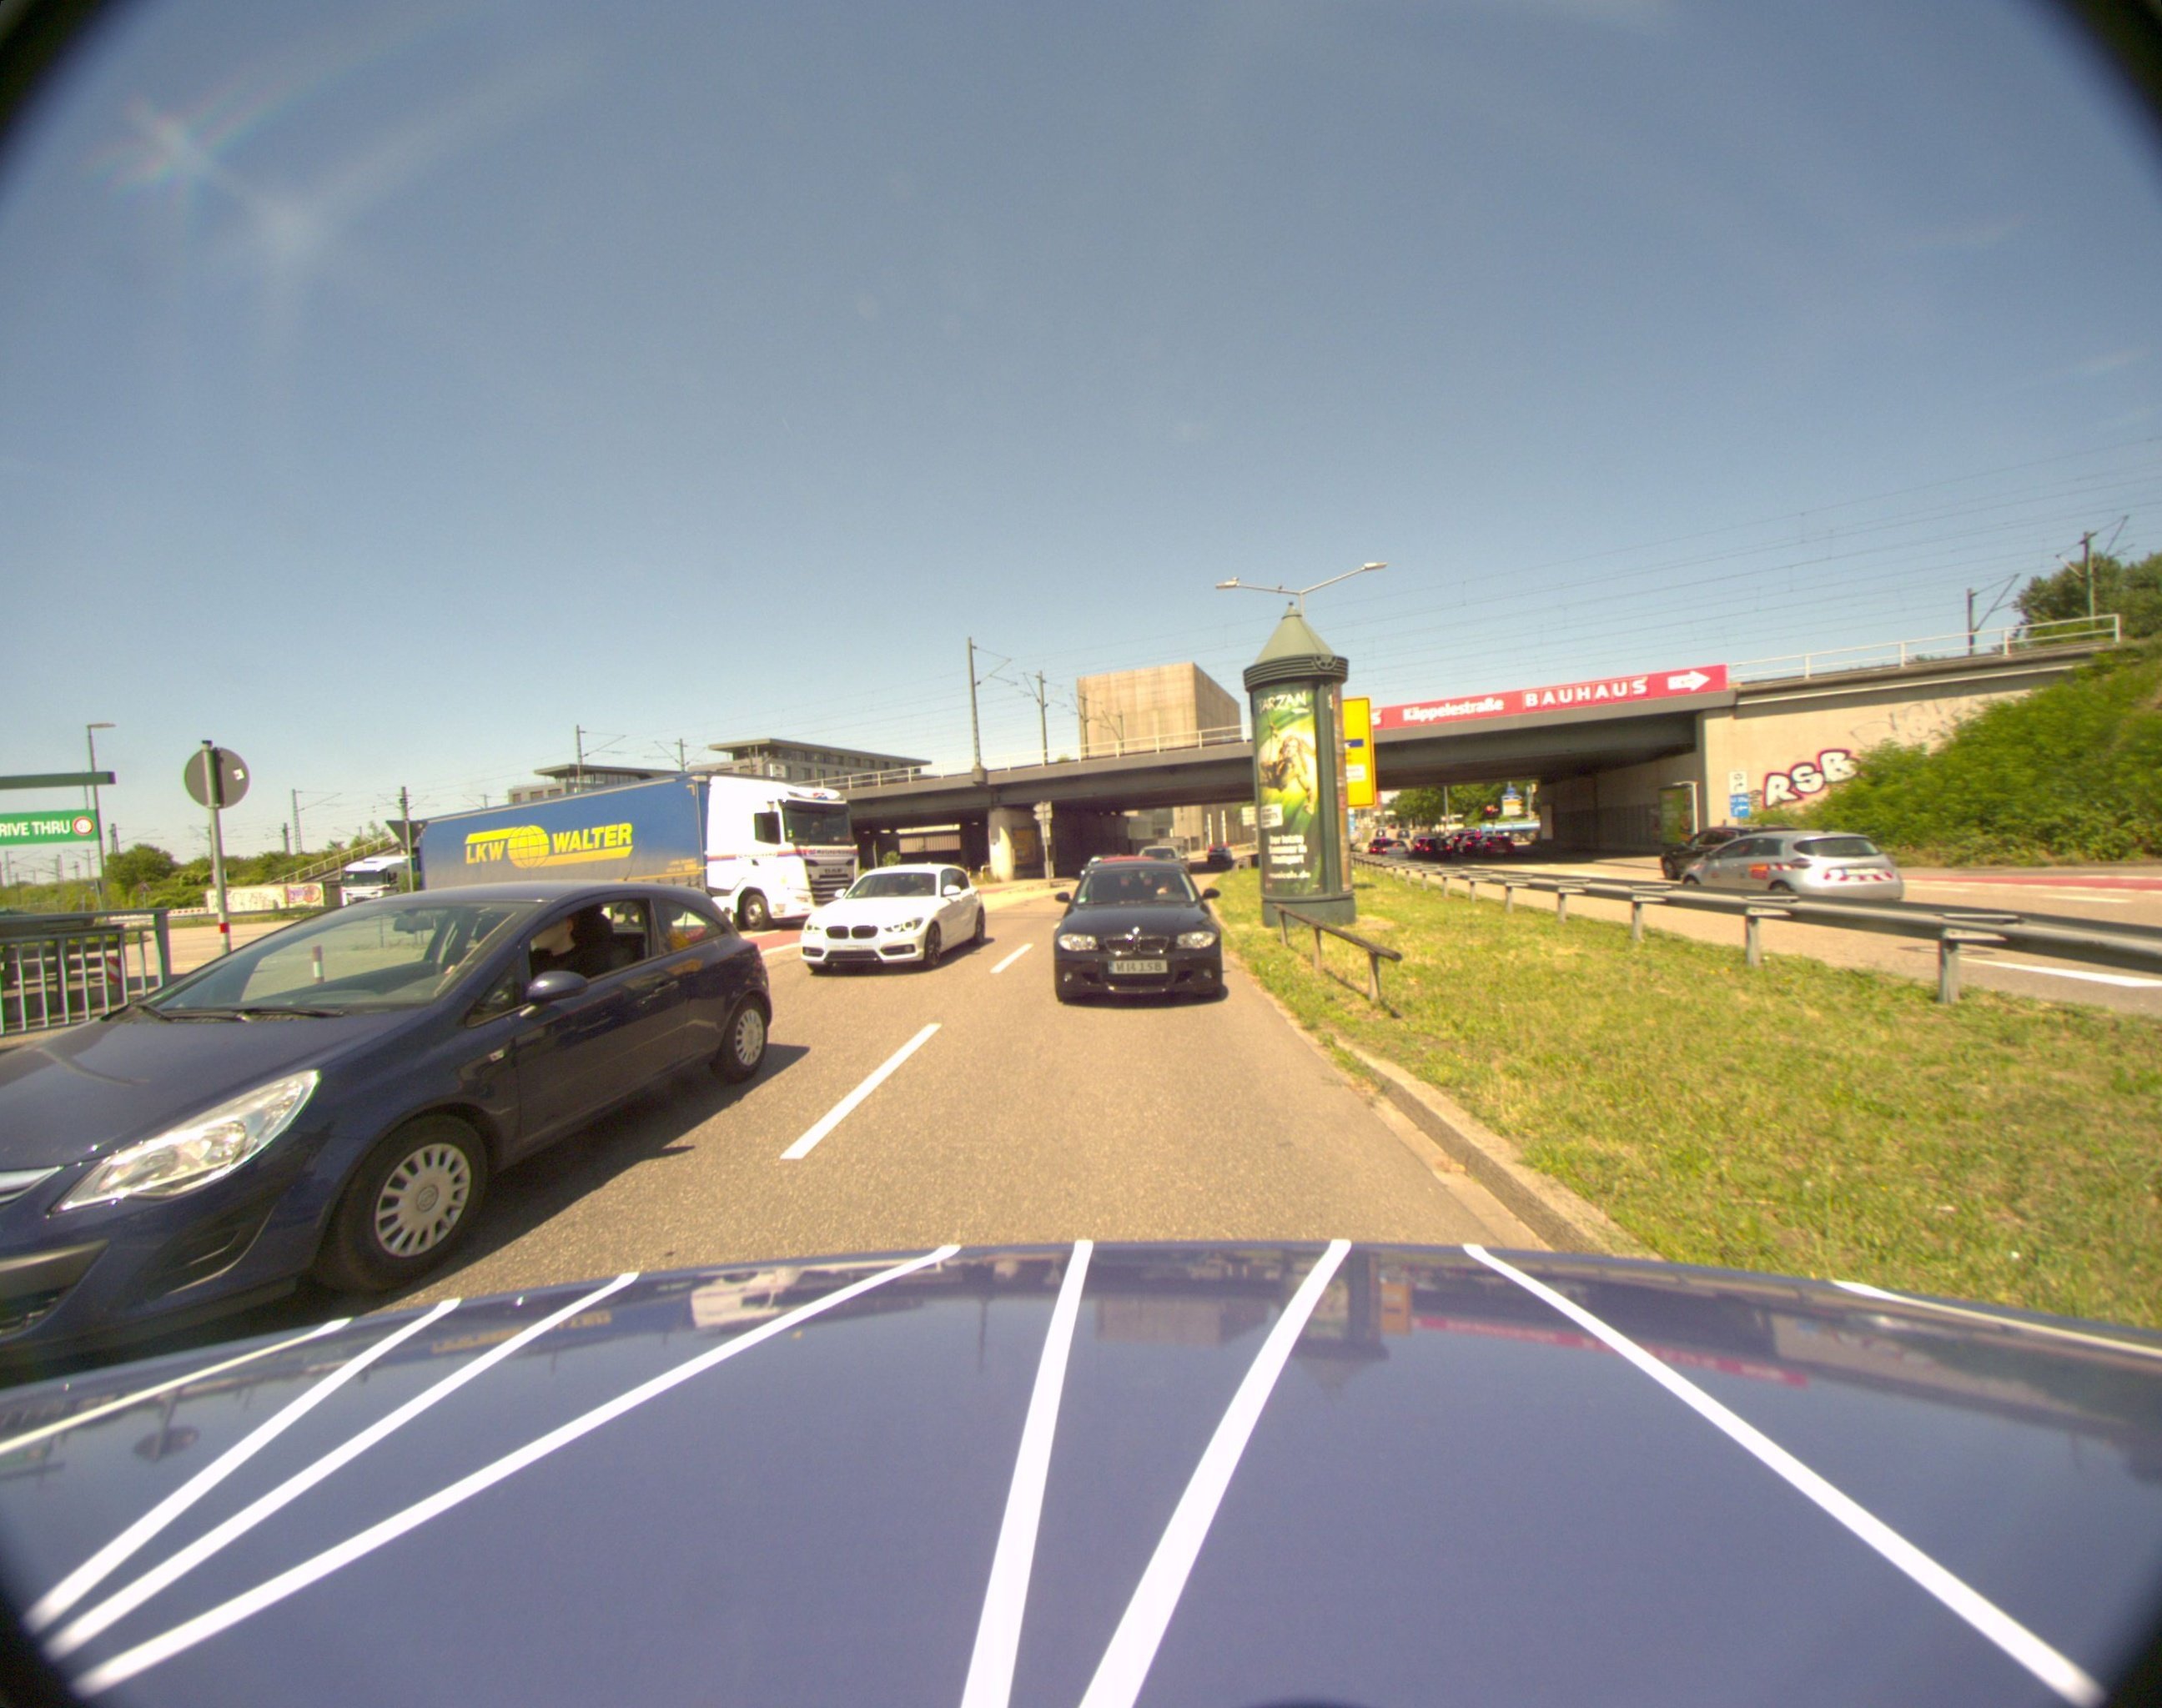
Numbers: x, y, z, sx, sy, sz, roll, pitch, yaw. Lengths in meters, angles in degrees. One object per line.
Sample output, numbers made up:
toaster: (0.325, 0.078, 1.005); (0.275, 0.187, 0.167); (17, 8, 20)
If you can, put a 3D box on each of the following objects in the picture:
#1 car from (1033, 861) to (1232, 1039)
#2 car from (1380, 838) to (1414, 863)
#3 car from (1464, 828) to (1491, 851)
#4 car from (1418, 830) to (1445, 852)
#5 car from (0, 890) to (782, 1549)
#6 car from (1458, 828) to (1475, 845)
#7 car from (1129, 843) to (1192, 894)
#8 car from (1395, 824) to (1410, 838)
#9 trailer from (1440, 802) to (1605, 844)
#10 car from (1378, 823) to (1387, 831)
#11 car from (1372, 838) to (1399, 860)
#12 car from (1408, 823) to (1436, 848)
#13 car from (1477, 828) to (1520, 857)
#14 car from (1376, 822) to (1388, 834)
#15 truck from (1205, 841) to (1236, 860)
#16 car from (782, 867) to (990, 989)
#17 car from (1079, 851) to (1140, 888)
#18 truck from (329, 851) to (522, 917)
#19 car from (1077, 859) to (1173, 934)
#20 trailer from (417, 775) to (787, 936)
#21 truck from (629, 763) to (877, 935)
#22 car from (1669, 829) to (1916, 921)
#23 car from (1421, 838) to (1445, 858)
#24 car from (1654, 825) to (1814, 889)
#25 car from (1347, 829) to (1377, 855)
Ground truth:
car: (0.642, 0.868, 8.668); (1.681, 1.409, 4.057); (-2, 1, 6)
car: (18.257, -0.231, 44.011); (1.636, 1.395, 4.227); (-1, 1, 20)
car: (27.992, -1.017, 53.664); (1.571, 1.494, 3.412); (-2, 1, 27)
car: (25.548, -0.977, 55.374); (1.617, 1.468, 3.438); (-2, 1, 27)
car: (-3.257, 1.023, 3.857); (1.650, 1.435, 3.892); (-2, 0, 4)
car: (30.341, -1.402, 59.824); (1.183, 1.241, 2.696); (-2, 1, 27)
car: (3.063, 0.495, 28.733); (1.844, 1.686, 3.703); (-2, 1, 13)
car: (49.390, -3.518, 116.762); (1.836, 2.002, 4.005); (-2, 1, 20)
trailer: (43.582, -2.992, 75.732); (13.858, 3.354, 2.970); (-2, 1, 28)
car: (74.341, -6.702, 187.537); (1.996, 2.002, 4.005); (-2, 1, 21)
car: (20.068, -0.342, 49.996); (1.410, 1.311, 3.266); (-2, 1, 26)
car: (27.561, -1.514, 61.539); (1.904, 1.849, 4.005); (-2, 1, 23)
car: (26.292, -0.761, 47.931); (1.774, 1.658, 4.020); (-2, 1, 20)
car: (54.128, -4.709, 136.692); (1.836, 2.002, 4.005); (-2, 1, 20)
truck: (12.623, -0.329, 68.415); (1.728, 1.493, 4.006); (-2, 1, 25)
car: (-2.729, 0.980, 11.665); (1.762, 1.435, 4.054); (-1, 0, 6)
car: (1.341, 0.665, 33.961); (1.714, 1.434, 4.004); (-2, 1, 16)
truck: (-48.325, 1.893, 57.291); (2.754, 4.079, 17.421); (-3, 1, -12)
car: (1.096, 0.835, 16.769); (1.645, 1.391, 4.055); (-1, 0, 10)
trailer: (-15.231, 0.345, 23.420); (13.872, 4.066, 2.504); (-3, 1, 26)
truck: (-8.730, -0.060, 20.276); (5.749, 4.078, 2.579); (-2, 1, 22)
car: (13.935, 0.364, 15.258); (1.637, 1.558, 4.075); (-1, 0, 10)
car: (23.226, -0.421, 50.106); (1.268, 1.178, 2.782); (-2, 1, 27)
car: (18.648, 0.043, 21.976); (1.491, 1.623, 4.476); (-3, 1, 12)
car: (21.249, -0.938, 57.331); (1.904, 1.849, 4.005); (-2, 1, 23)
